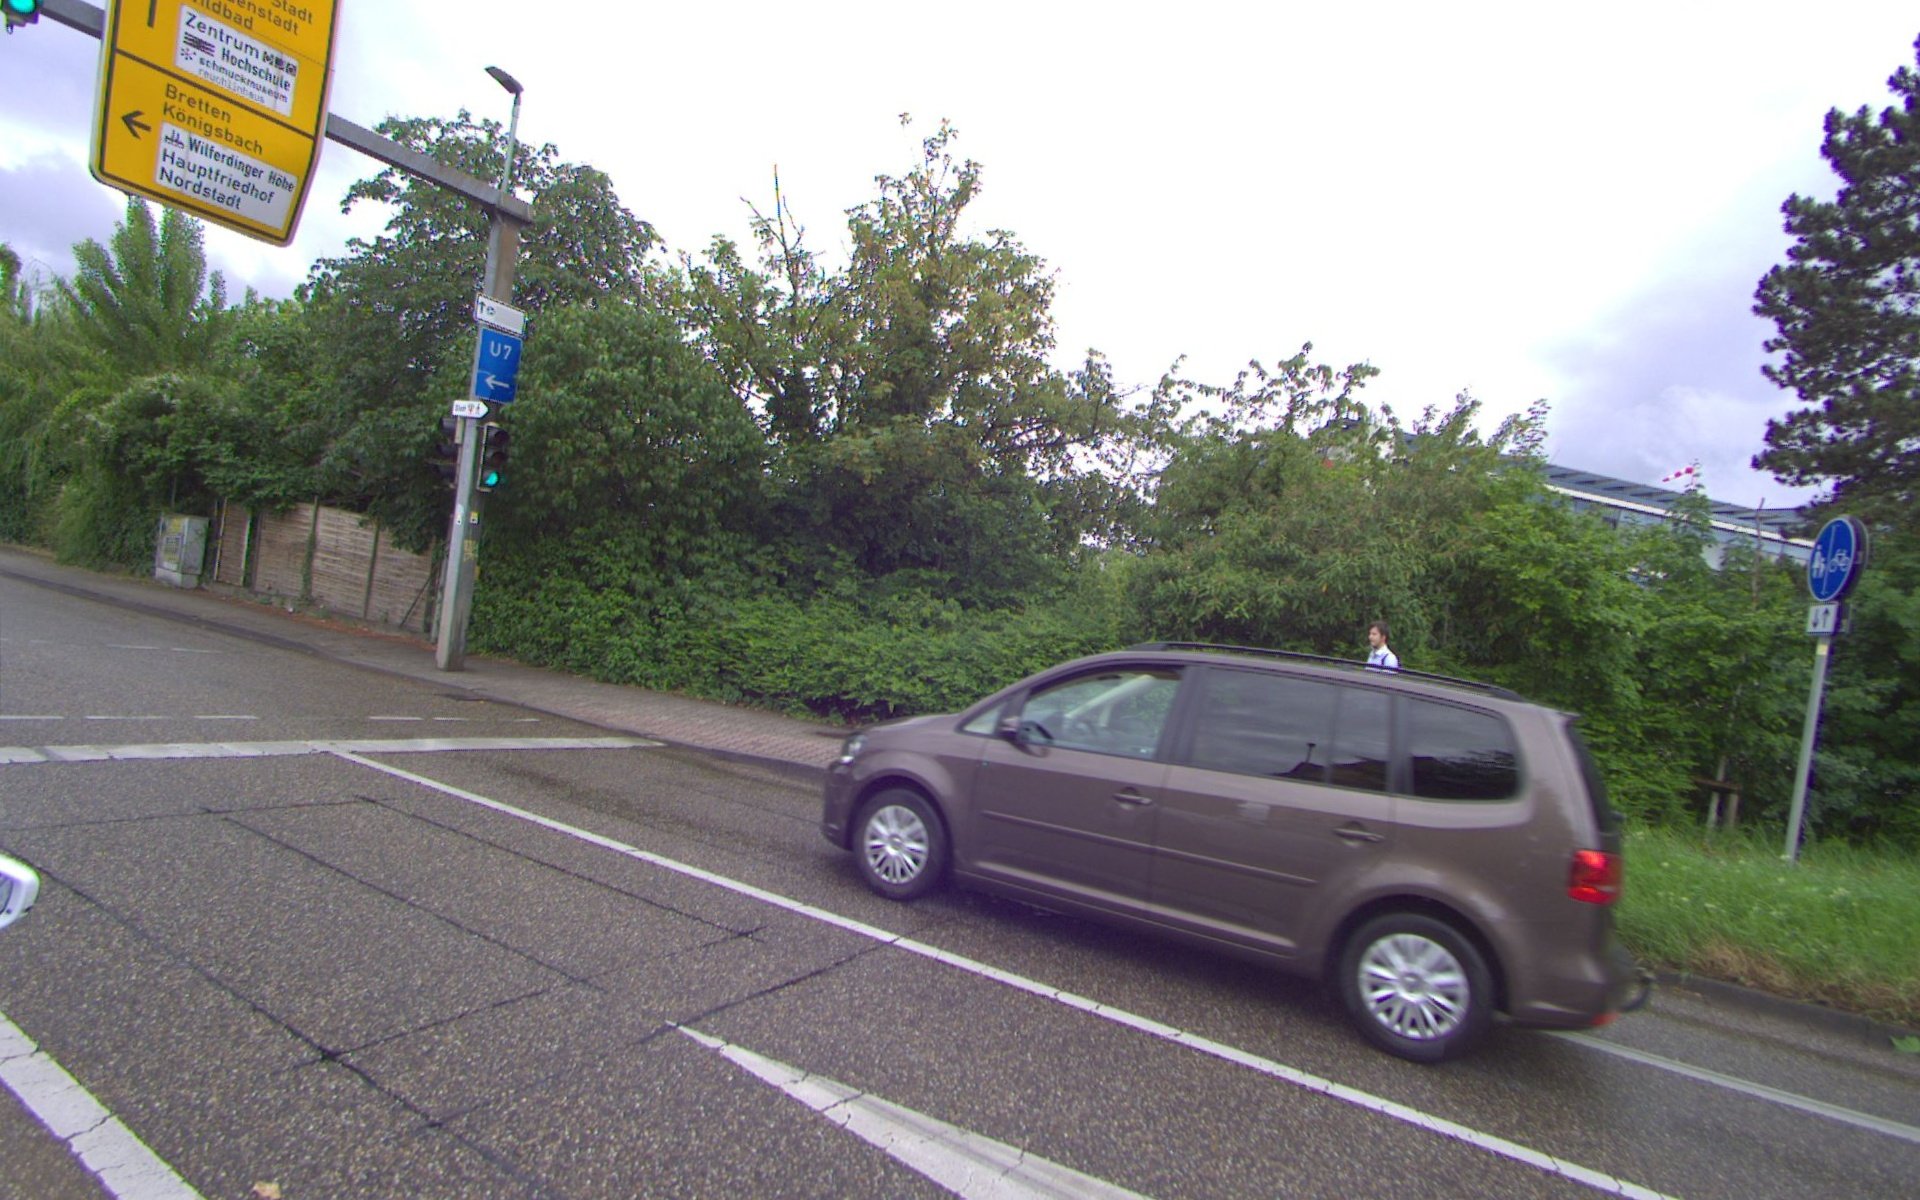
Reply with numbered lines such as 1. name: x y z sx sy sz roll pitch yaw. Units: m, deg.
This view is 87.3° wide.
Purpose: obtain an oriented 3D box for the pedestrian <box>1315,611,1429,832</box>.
1. pedestrian: 4.039 1.167 9.920 0.704 2.026 0.658 7 0 11

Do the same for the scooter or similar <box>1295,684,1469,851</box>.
1. scooter or similar: 4.087 1.603 9.818 1.358 1.378 0.463 7 0 11

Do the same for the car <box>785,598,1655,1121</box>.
1. car: 1.235 1.073 5.586 3.999 1.593 1.740 7 -2 29
